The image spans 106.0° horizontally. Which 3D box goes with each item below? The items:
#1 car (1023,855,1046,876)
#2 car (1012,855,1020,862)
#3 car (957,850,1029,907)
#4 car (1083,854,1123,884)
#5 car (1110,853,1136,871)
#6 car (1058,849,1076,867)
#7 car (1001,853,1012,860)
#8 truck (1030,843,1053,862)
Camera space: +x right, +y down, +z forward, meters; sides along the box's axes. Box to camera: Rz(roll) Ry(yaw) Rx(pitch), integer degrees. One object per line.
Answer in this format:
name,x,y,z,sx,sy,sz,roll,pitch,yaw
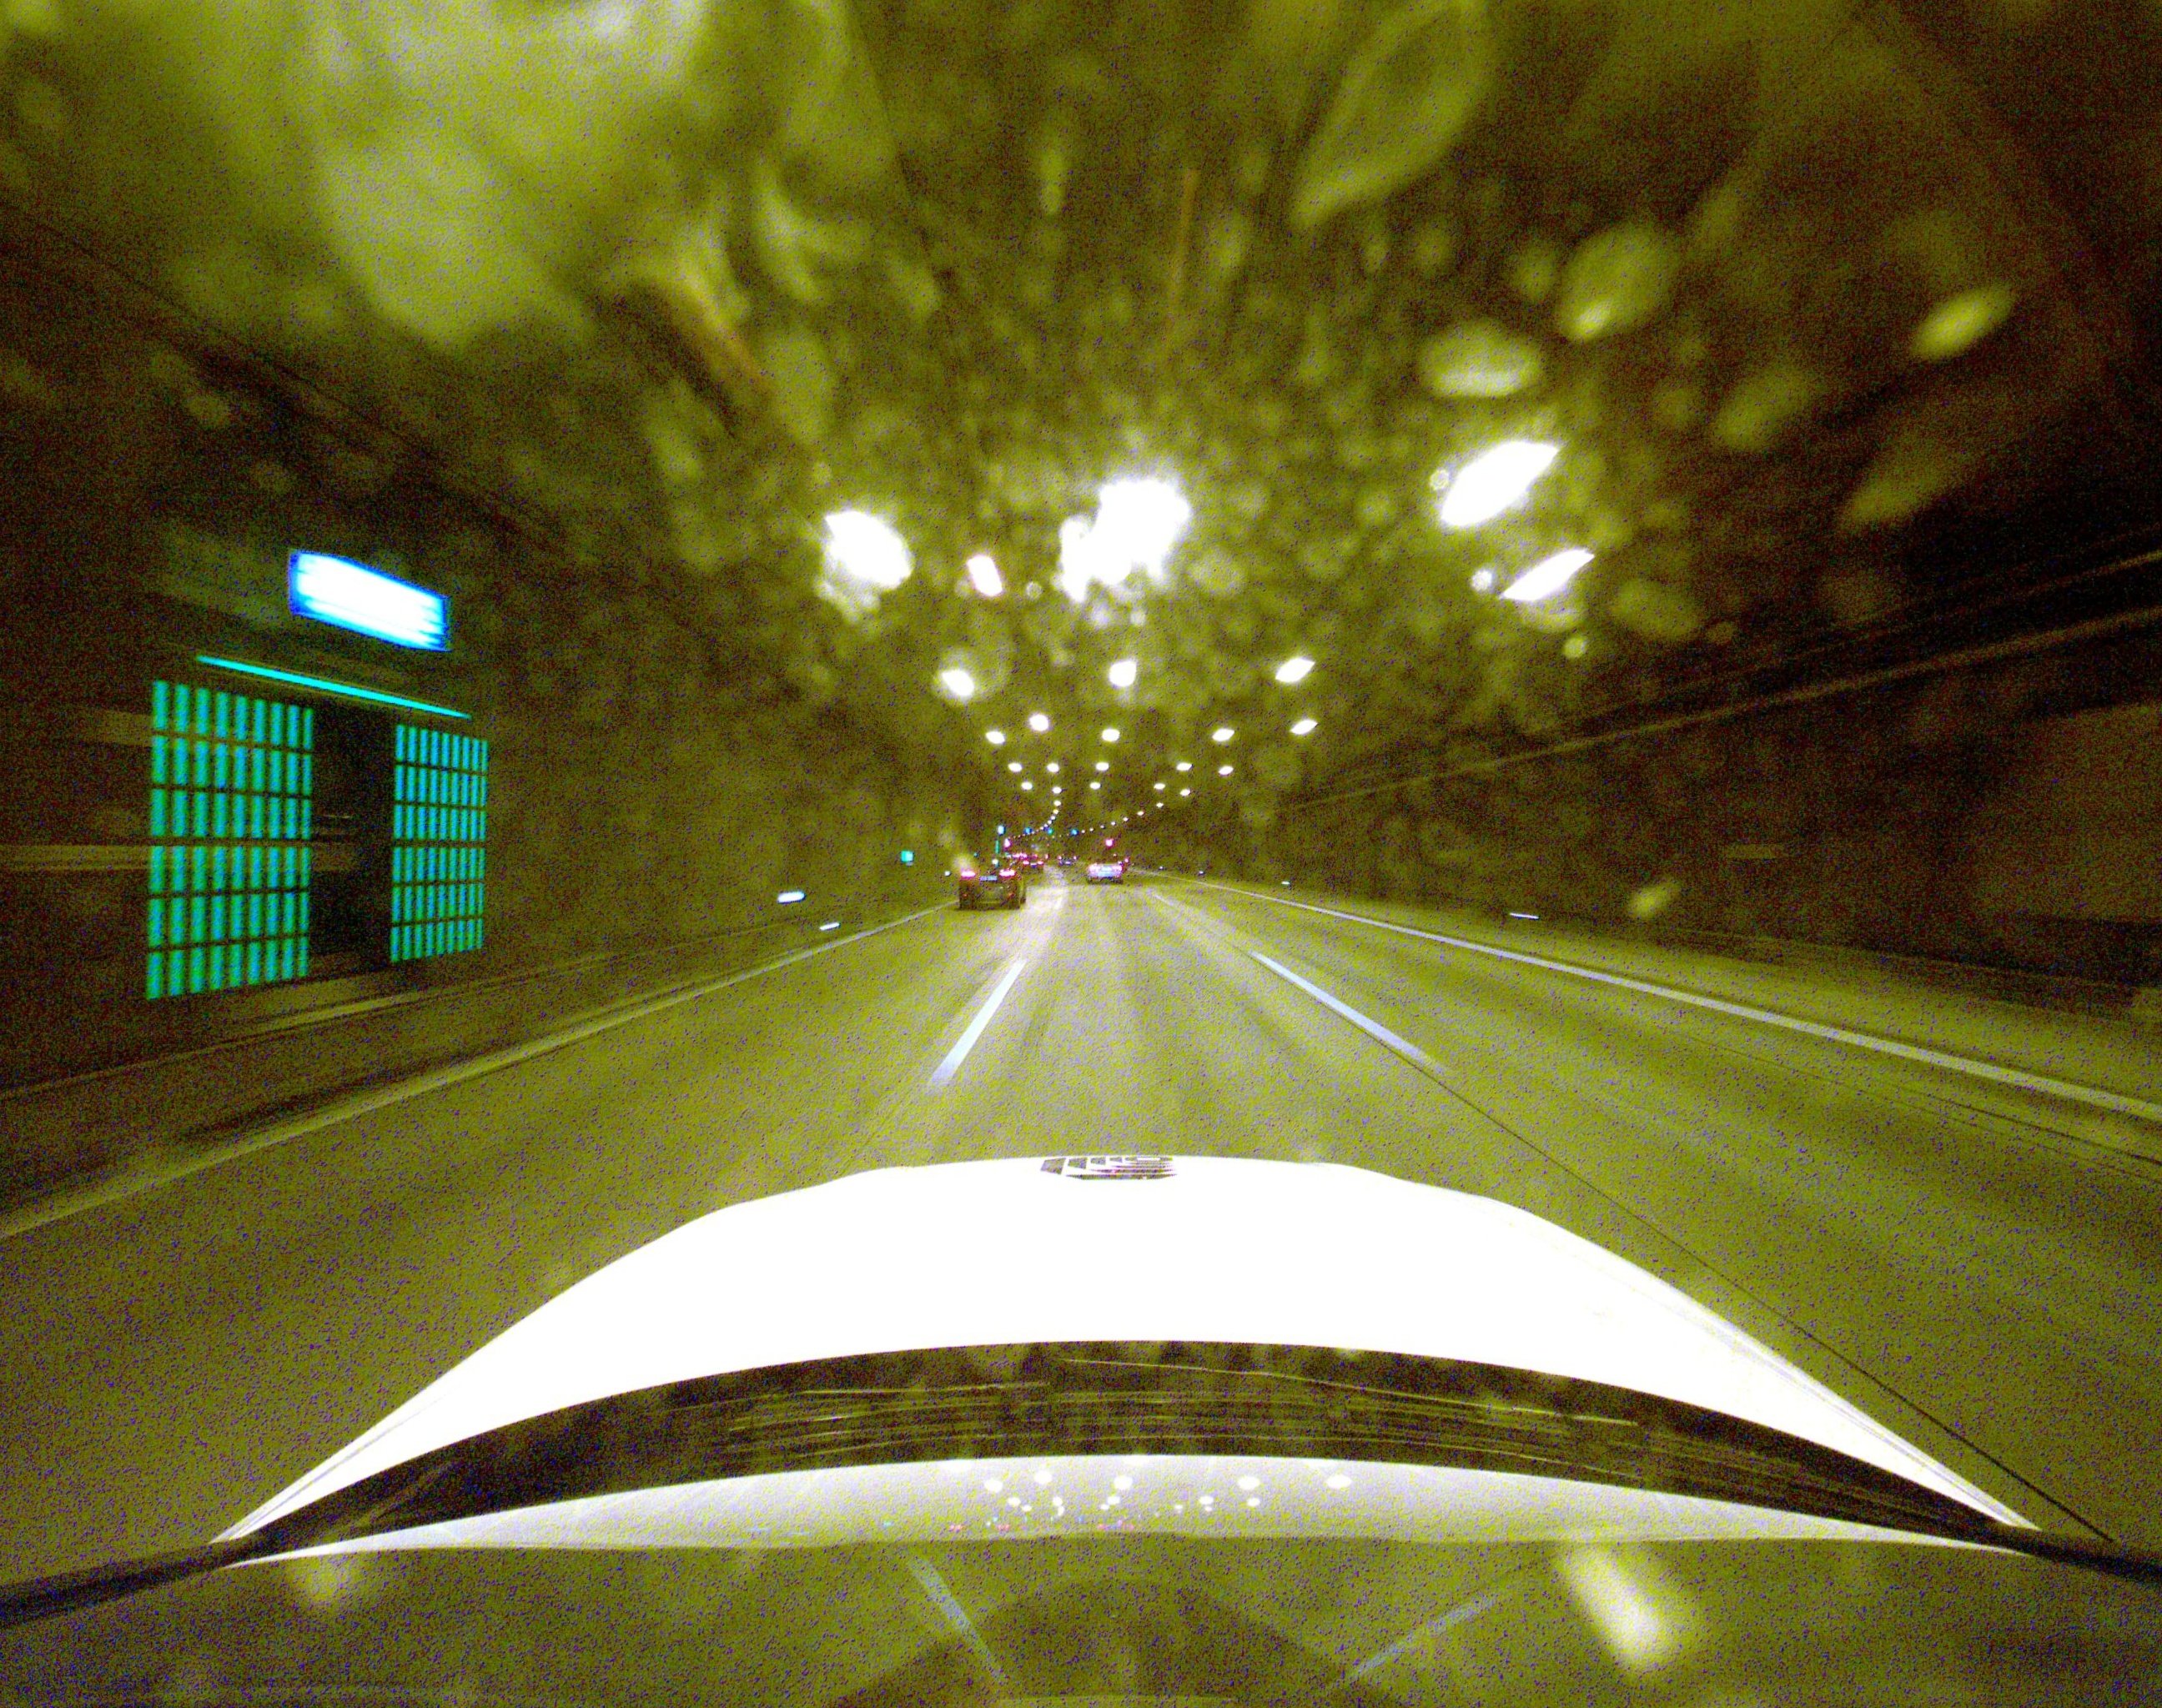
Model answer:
car,-3.879,0.950,68.261,1.796,1.684,3.997,0,0,-2
car,-15.283,1.032,191.334,1.991,1.754,3.991,0,-1,-6
car,-2.616,0.689,25.003,1.780,1.598,3.800,-1,0,0
car,1.224,0.774,43.049,1.985,1.483,4.003,0,0,3
car,3.659,0.696,72.174,1.836,1.602,3.994,0,0,-4
car,-1.546,0.407,91.902,1.988,1.972,3.997,-1,0,-1
car,-15.892,0.608,174.297,1.993,1.530,3.987,1,-1,-9
truck,-6.866,-0.359,140.882,3.080,3.113,10.003,1,1,-7
